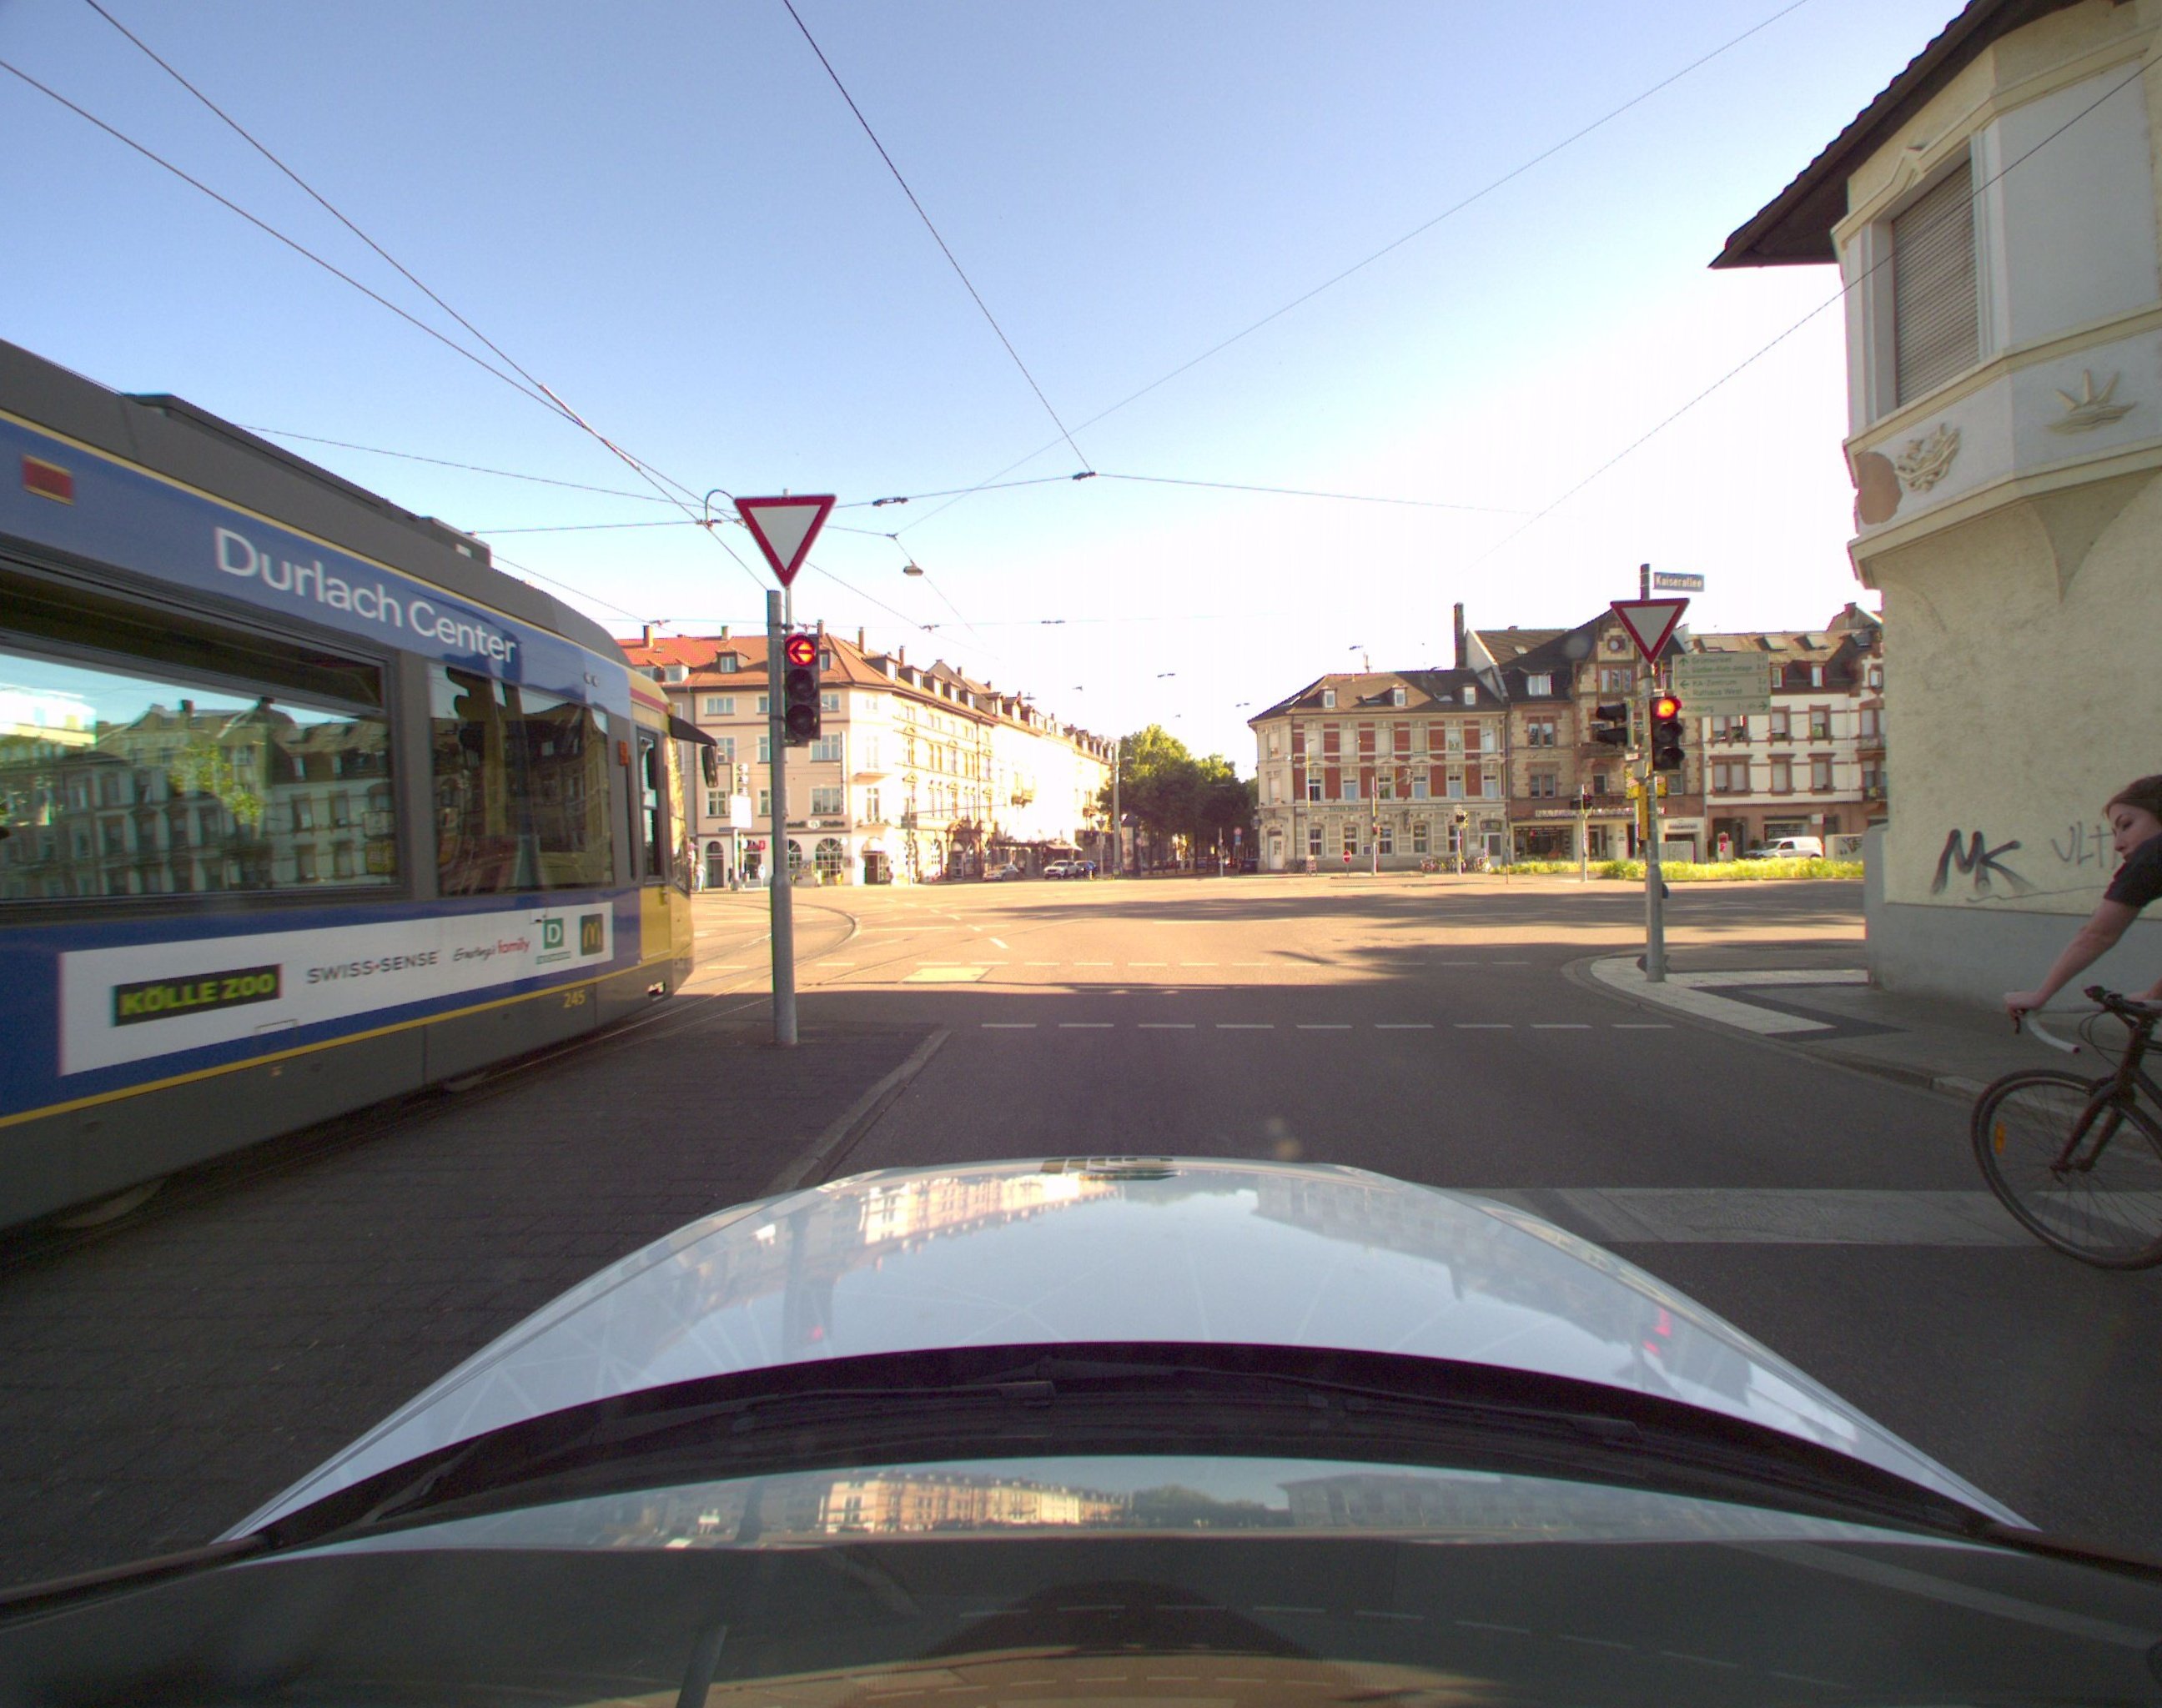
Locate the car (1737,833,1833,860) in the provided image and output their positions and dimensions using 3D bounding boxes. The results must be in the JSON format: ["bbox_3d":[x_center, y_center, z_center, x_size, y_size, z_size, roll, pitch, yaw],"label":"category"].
[{"bbox_3d":[45.359,-0.470,52.529,4.317,1.640,2.152,-2,0,1],"label":"car"}]

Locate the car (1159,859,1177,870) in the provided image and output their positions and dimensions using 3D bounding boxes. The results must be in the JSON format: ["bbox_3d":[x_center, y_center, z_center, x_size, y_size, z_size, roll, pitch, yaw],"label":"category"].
[{"bbox_3d":[13.913,1.700,130.307,1.822,1.552,4.412,-2,0,19],"label":"car"}]

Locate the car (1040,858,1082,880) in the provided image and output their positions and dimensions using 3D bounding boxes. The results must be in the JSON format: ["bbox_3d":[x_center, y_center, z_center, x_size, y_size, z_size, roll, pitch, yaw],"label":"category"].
[{"bbox_3d":[-1.608,1.247,67.513,1.977,1.684,4.413,-2,0,20],"label":"car"}]

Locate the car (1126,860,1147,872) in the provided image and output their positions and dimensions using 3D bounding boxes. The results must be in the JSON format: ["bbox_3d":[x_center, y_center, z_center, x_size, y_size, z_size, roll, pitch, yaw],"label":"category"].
[{"bbox_3d":[7.534,1.666,110.956,1.978,1.486,4.017,-1,0,16],"label":"car"}]

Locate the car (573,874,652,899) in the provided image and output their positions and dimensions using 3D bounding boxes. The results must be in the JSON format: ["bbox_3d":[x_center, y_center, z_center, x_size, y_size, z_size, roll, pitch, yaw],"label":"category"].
[{"bbox_3d":[-30.620,2.129,53.311,3.974,1.453,2.000,-1,0,-1],"label":"car"}]

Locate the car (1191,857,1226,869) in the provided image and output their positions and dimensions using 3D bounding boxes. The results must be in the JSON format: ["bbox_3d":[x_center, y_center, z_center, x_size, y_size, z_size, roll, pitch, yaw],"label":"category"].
[{"bbox_3d":[18.003,1.303,115.108,4.335,1.612,2.012,-2,0,28],"label":"car"}]

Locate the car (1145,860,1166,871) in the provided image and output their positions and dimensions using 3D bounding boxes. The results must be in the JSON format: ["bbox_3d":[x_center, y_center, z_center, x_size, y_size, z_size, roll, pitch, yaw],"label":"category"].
[{"bbox_3d":[11.255,1.730,122.575,1.977,1.612,4.413,-2,0,20],"label":"car"}]

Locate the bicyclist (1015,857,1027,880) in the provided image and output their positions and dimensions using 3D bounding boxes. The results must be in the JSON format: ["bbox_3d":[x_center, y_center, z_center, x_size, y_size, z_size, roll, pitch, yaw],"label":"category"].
[{"bbox_3d":[-4.812,1.127,65.313,0.674,1.820,1.075,-2,0,14],"label":"bicyclist"}]

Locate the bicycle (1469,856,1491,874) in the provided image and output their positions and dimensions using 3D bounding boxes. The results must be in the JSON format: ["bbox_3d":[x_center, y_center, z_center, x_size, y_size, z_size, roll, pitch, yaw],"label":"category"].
[{"bbox_3d":[25.756,0.694,52.574,0.606,1.136,2.139,-2,0,7],"label":"bicycle"}]

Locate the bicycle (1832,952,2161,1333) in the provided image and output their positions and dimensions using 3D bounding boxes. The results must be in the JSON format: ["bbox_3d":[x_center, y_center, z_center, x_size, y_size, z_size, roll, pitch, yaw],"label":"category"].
[{"bbox_3d":[3.614,0.947,2.645,0.642,1.010,1.930,-2,0,4],"label":"bicycle"}]

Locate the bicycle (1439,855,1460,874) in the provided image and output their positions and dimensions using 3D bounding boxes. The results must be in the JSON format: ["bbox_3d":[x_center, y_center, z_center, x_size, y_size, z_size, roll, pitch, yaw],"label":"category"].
[{"bbox_3d":[23.858,0.676,52.760,0.615,1.143,2.178,-2,0,7],"label":"bicycle"}]

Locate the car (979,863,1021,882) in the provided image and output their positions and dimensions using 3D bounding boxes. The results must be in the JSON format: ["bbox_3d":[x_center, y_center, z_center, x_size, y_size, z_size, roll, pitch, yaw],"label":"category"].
[{"bbox_3d":[-6.683,1.516,67.356,1.883,1.455,4.020,-2,0,20],"label":"car"}]

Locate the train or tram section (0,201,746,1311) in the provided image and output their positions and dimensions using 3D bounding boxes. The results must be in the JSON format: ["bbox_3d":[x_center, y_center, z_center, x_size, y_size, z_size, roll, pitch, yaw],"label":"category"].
[{"bbox_3d":[-4.805,-0.293,1.781,2.760,3.499,12.035,-1,0,2],"label":"train or tram section"}]

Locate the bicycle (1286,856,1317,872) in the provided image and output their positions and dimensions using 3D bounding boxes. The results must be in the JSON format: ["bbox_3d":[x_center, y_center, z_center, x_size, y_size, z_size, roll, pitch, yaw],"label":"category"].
[{"bbox_3d":[15.500,0.724,57.164,2.081,1.124,0.366,0,-1,-3],"label":"bicycle"}]

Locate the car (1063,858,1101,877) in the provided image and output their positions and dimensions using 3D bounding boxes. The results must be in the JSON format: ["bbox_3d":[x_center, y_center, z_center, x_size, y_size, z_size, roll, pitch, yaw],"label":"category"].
[{"bbox_3d":[0.117,1.214,73.990,1.977,1.612,4.413,-2,0,20],"label":"car"}]

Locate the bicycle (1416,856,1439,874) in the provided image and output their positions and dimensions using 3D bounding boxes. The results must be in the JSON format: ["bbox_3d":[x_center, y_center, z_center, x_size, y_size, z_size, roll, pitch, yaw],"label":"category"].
[{"bbox_3d":[22.500,0.704,52.961,0.802,1.143,2.178,-2,0,7],"label":"bicycle"}]

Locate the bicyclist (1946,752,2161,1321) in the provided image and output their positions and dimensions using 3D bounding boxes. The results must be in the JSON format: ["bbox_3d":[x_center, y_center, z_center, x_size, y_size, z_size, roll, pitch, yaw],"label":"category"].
[{"bbox_3d":[3.599,0.560,2.568,0.559,1.754,1.102,-2,0,4],"label":"bicyclist"}]

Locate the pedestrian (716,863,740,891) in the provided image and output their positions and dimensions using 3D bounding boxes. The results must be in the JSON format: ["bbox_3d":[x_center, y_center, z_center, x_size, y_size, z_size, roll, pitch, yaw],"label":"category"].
[{"bbox_3d":[-23.004,1.494,53.077,0.998,1.775,0.945,-2,0,16],"label":"pedestrian"}]

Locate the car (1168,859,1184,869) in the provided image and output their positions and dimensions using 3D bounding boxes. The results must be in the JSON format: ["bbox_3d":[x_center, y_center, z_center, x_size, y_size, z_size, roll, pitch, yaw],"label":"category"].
[{"bbox_3d":[15.831,1.720,136.142,1.750,1.549,4.411,-2,0,18],"label":"car"}]

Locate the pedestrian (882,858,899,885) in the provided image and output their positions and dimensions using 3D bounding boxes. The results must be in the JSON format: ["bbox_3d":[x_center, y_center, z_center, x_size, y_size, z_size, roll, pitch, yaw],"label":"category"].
[{"bbox_3d":[-12.933,1.178,55.356,1.047,1.744,0.805,-1,0,-13],"label":"pedestrian"}]

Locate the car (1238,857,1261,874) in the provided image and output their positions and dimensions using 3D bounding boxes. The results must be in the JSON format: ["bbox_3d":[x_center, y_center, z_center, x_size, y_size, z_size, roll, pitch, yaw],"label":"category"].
[{"bbox_3d":[17.016,1.142,82.191,1.978,1.585,4.017,-2,0,16],"label":"car"}]

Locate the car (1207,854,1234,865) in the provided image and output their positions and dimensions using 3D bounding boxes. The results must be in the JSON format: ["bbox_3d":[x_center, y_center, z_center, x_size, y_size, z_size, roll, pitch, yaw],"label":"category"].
[{"bbox_3d":[22.832,0.973,133.277,3.948,1.706,2.013,-2,0,32],"label":"car"}]

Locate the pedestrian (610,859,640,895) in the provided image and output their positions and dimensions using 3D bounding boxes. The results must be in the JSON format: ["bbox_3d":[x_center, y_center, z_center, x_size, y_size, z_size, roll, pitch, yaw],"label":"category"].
[{"bbox_3d":[-23.317,1.159,41.627,0.935,1.756,0.935,-1,0,1],"label":"pedestrian"}]

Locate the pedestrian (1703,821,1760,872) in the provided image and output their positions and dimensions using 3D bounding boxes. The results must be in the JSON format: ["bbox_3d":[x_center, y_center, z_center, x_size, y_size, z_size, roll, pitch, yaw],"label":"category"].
[{"bbox_3d":[27.114,-0.301,33.975,1.314,2.044,1.307,-1,0,1],"label":"pedestrian"}]

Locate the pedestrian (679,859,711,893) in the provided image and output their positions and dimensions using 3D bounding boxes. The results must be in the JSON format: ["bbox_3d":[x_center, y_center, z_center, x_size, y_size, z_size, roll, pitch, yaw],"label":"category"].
[{"bbox_3d":[-20.128,1.144,42.438,1.076,1.685,1.104,-1,0,1],"label":"pedestrian"}]

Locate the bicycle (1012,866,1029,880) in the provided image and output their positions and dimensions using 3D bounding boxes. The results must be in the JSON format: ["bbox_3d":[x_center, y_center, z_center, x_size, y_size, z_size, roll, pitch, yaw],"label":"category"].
[{"bbox_3d":[-4.817,1.507,65.270,0.675,1.066,2.133,-2,0,14],"label":"bicycle"}]

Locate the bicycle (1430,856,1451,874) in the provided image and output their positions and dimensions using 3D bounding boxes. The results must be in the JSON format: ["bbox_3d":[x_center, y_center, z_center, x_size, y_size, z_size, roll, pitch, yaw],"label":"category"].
[{"bbox_3d":[23.279,0.695,52.812,0.615,1.143,2.178,-2,0,7],"label":"bicycle"}]

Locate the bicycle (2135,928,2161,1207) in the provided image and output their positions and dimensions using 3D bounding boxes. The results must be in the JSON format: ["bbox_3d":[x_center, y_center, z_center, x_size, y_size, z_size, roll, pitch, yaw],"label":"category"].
[{"bbox_3d":[4.534,0.857,2.420,0.516,1.116,1.815,-2,0,4],"label":"bicycle"}]

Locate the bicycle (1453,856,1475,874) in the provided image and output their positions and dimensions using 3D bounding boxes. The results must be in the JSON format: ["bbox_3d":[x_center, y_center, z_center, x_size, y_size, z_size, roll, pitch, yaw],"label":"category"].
[{"bbox_3d":[24.778,0.714,52.664,0.615,1.143,2.178,-2,0,7],"label":"bicycle"}]
